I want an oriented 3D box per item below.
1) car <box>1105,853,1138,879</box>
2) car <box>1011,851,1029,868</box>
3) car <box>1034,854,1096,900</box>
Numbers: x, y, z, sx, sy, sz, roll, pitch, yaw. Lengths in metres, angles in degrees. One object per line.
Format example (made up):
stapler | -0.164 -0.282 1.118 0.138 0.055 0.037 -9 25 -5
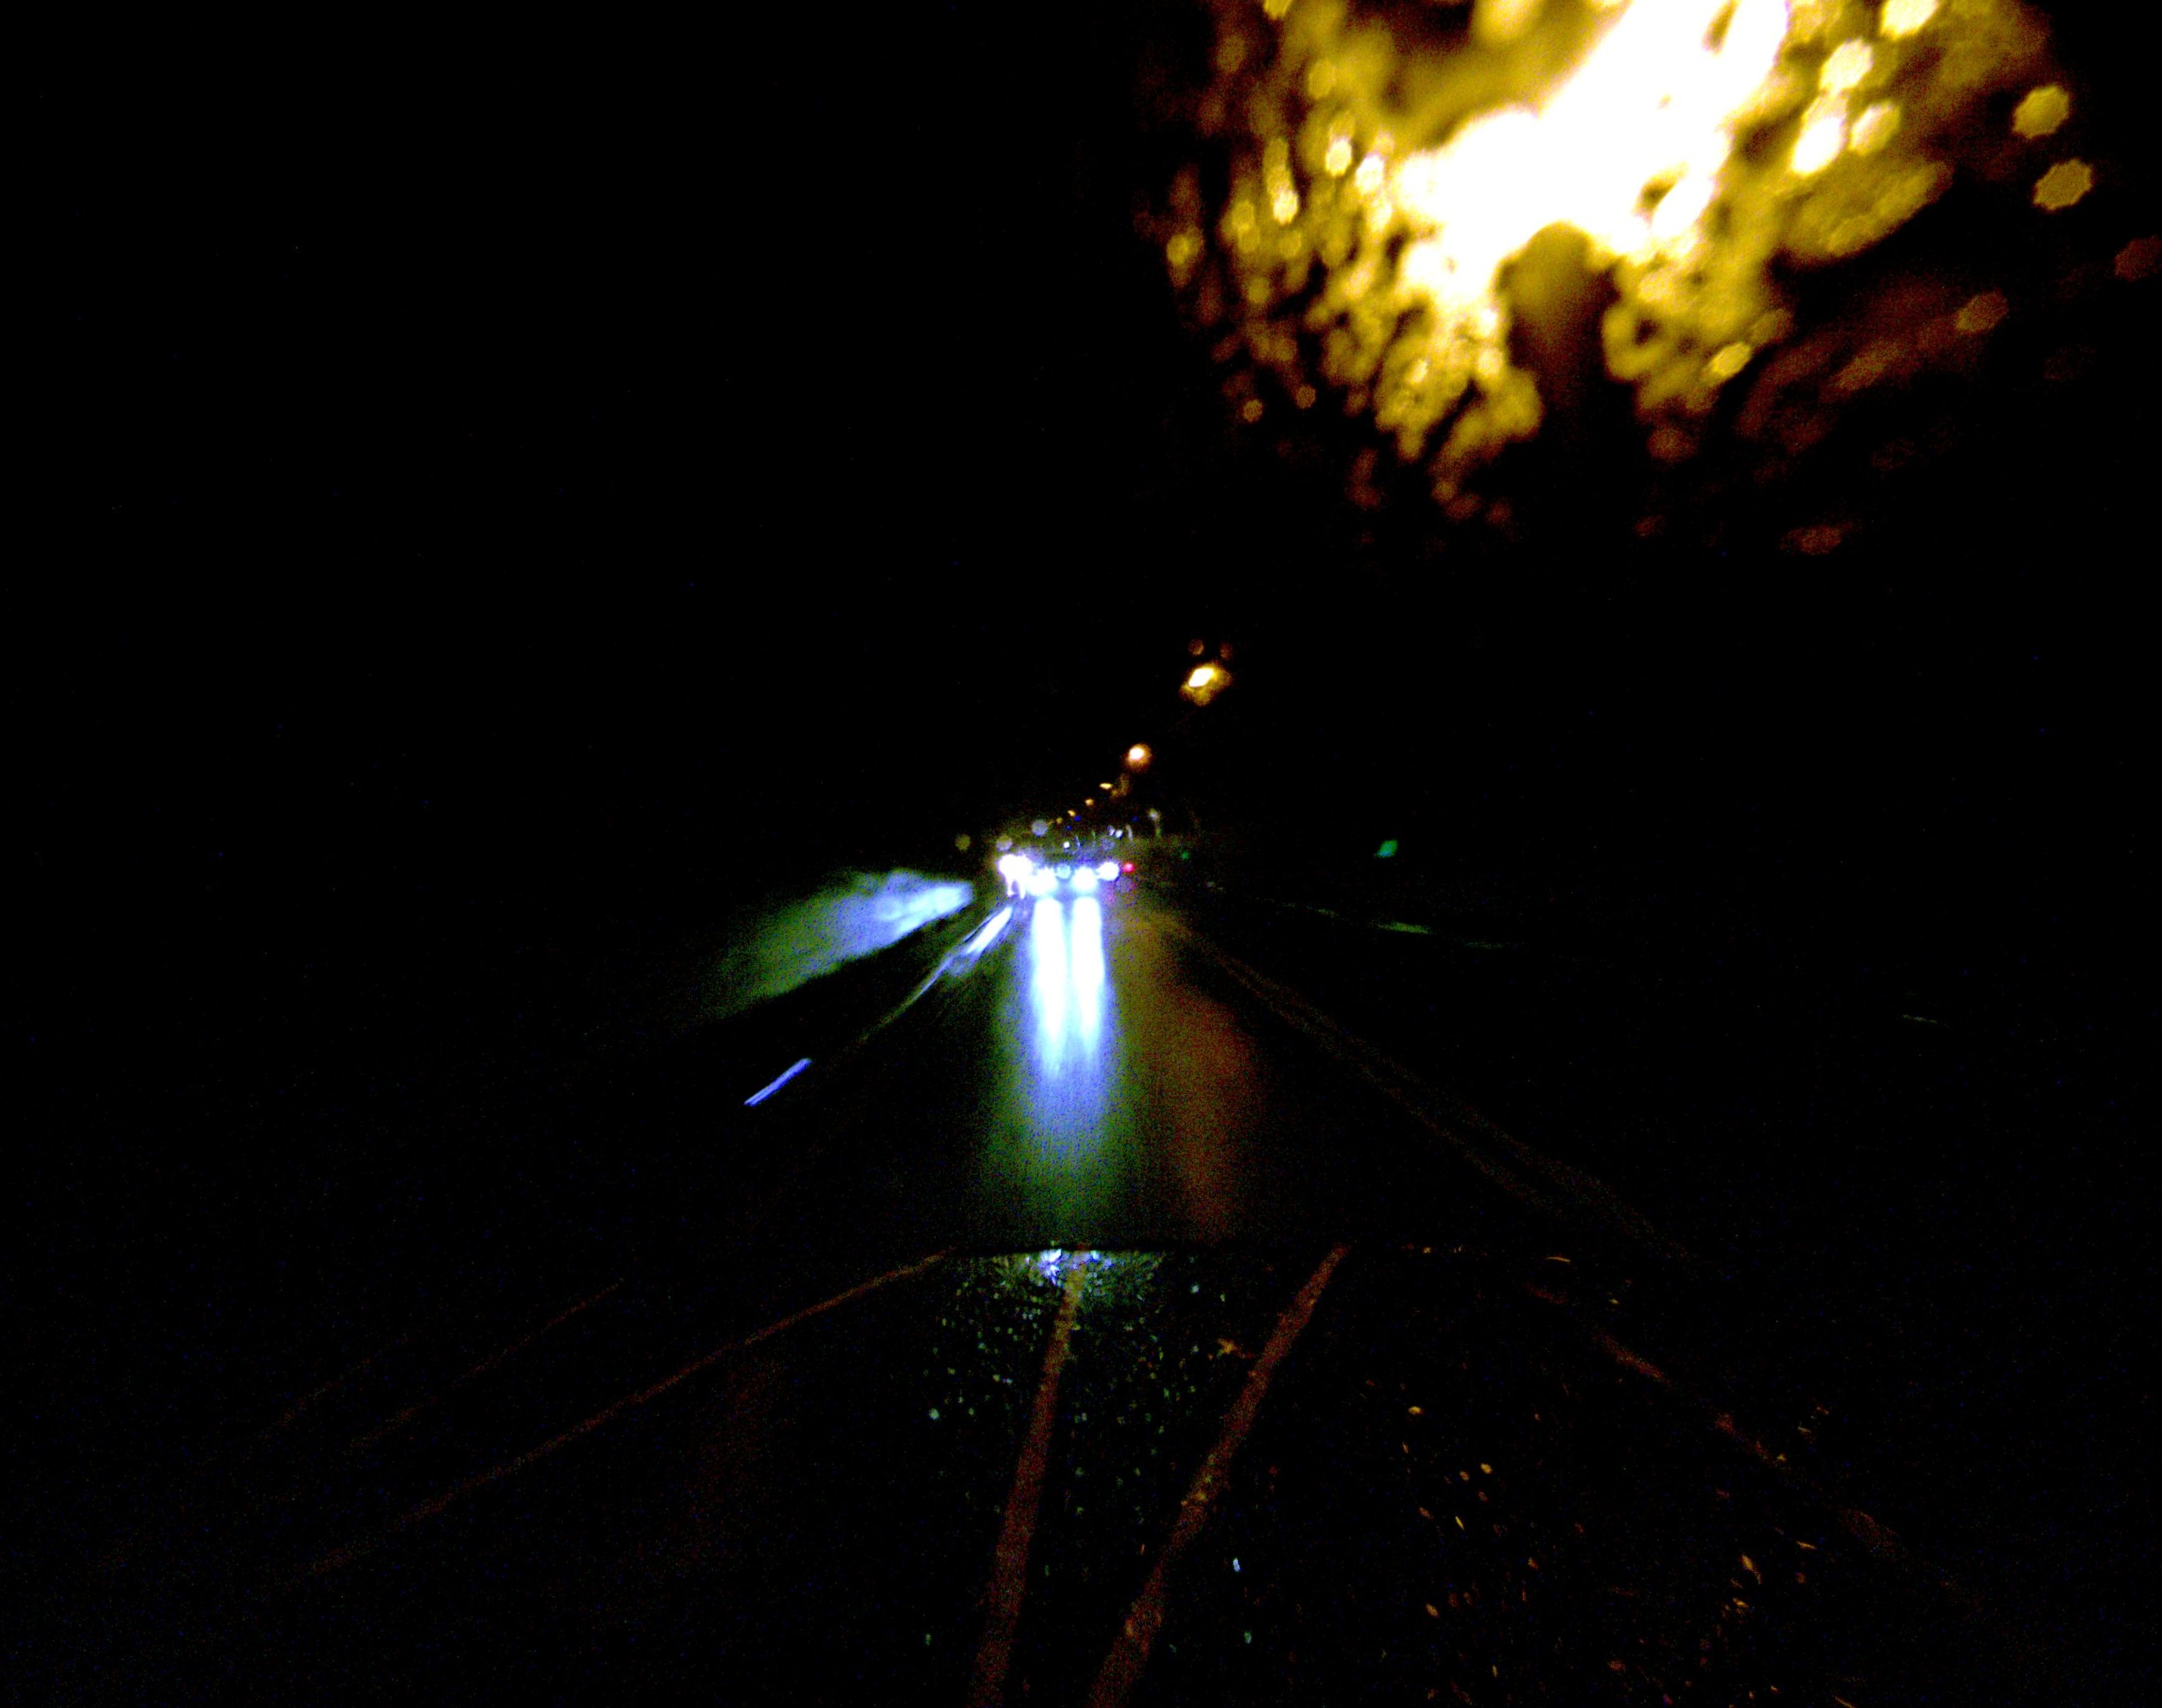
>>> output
car | 2.366 0.668 44.937 1.630 1.438 3.935 -2 0 -1
car | -7.796 0.686 97.130 1.900 2.002 3.996 -1 1 -10
car | -0.744 0.849 30.340 2.000 1.585 4.605 -3 1 -6
